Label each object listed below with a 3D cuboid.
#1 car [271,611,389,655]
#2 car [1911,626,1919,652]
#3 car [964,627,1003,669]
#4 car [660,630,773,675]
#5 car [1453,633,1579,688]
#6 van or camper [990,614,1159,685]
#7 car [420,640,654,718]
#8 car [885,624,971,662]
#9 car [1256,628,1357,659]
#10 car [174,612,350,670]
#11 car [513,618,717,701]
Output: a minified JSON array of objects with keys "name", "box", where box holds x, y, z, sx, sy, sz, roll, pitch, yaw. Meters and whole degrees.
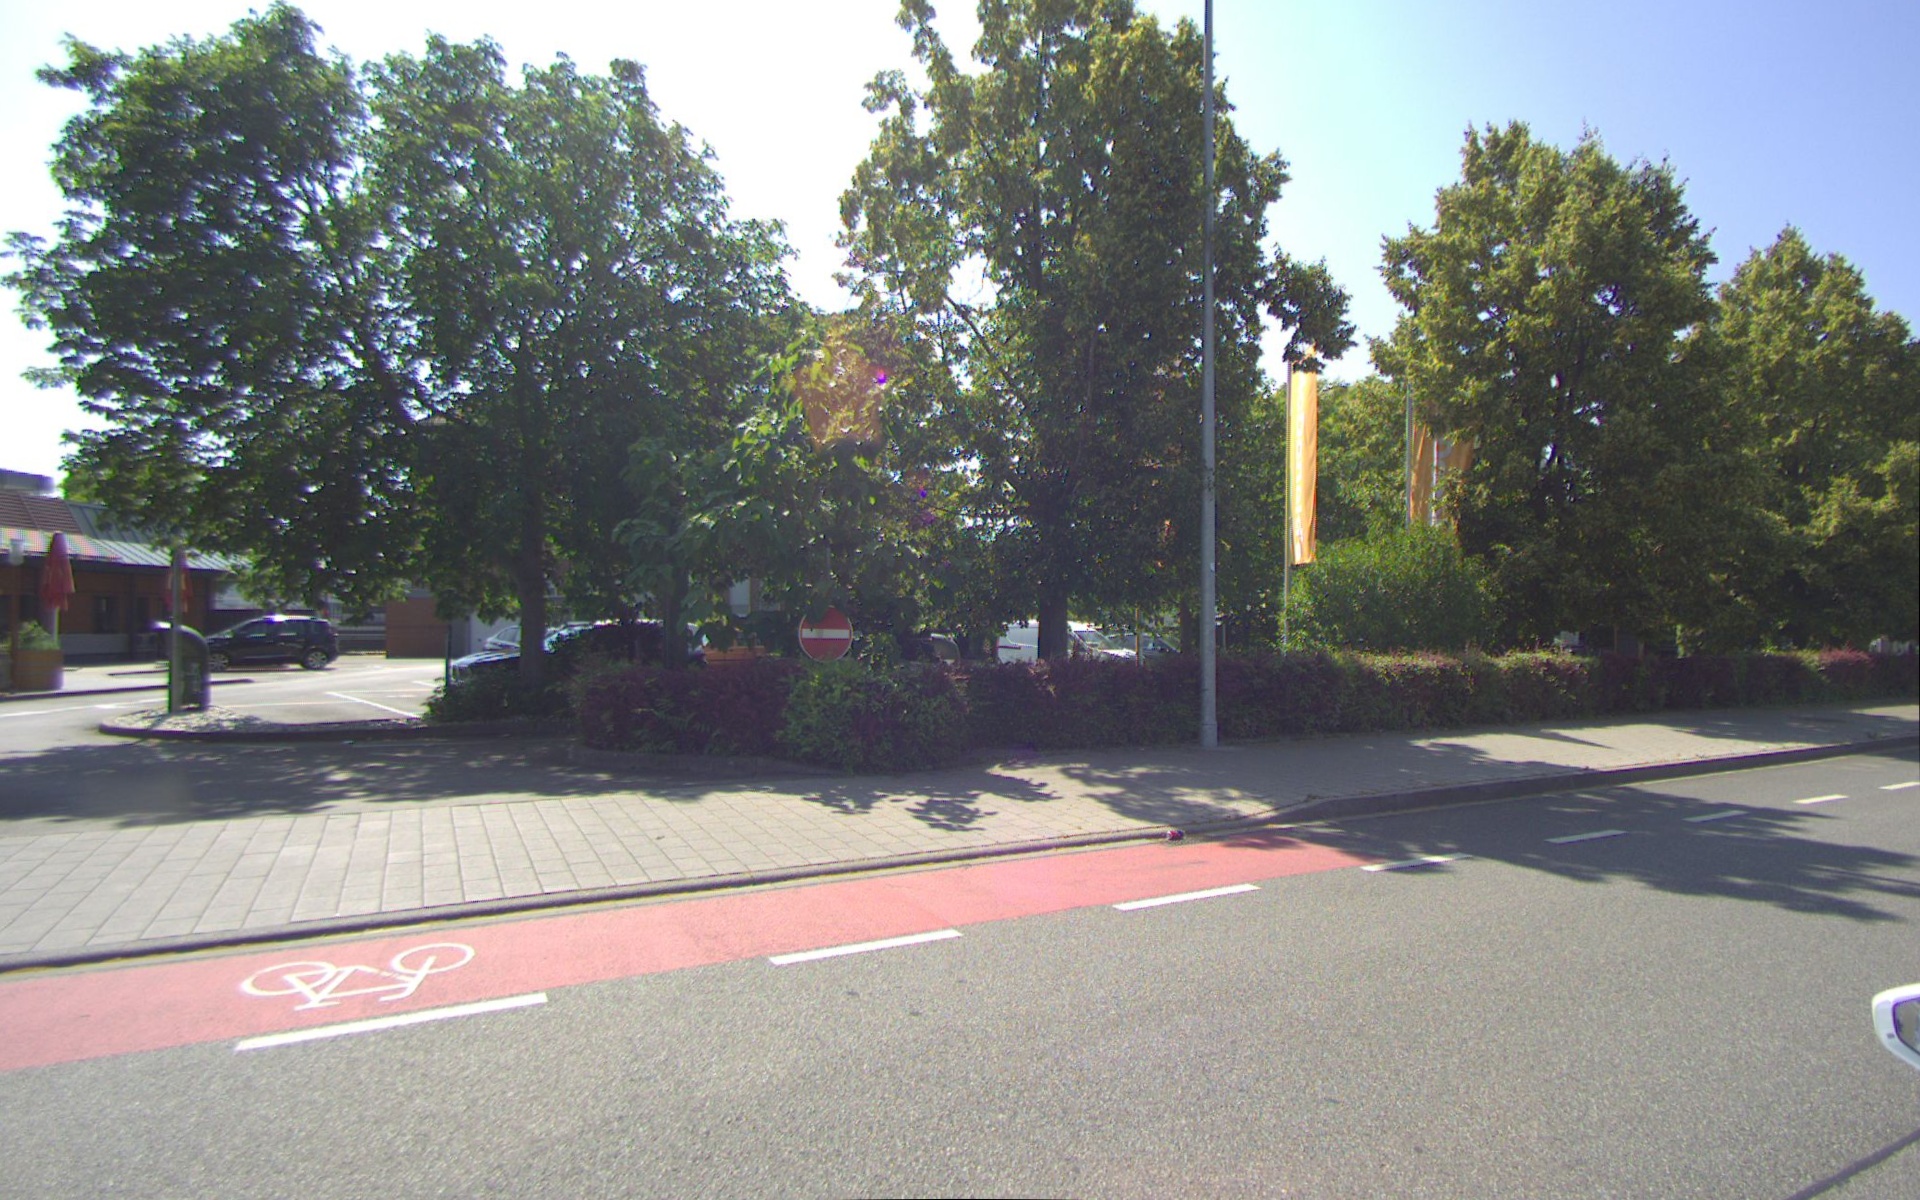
[{"name":"car","box":[-32.439,1.722,51.862,4.714,2.206,1.998,0,-2,-7]},{"name":"car","box":[69.981,2.798,71.412,1.961,1.929,4.000,0,-2,20]},{"name":"car","box":[0.906,1.860,39.563,1.472,1.546,3.434,0,-2,0]},{"name":"car","box":[-8.024,1.706,33.244,3.323,1.394,1.570,2,-2,-45]},{"name":"car","box":[17.380,1.855,31.387,3.709,1.624,1.675,1,-2,-28]},{"name":"van or camper","box":[3.012,1.289,26.982,4.226,1.763,1.988,-1,-2,44]},{"name":"car","box":[-8.044,1.444,19.442,1.581,1.303,3.990,-1,-2,32]},{"name":"car","box":[-1.481,1.898,45.087,1.784,1.619,3.953,2,-2,-40]},{"name":"car","box":[16.775,2.080,48.768,4.226,1.457,1.988,-1,-2,44]},{"name":"car","box":[-21.860,1.298,31.577,4.320,1.706,1.752,3,-3,-44]},{"name":"car","box":[-7.891,1.322,23.307,1.692,1.758,4.231,-1,-2,38]}]
